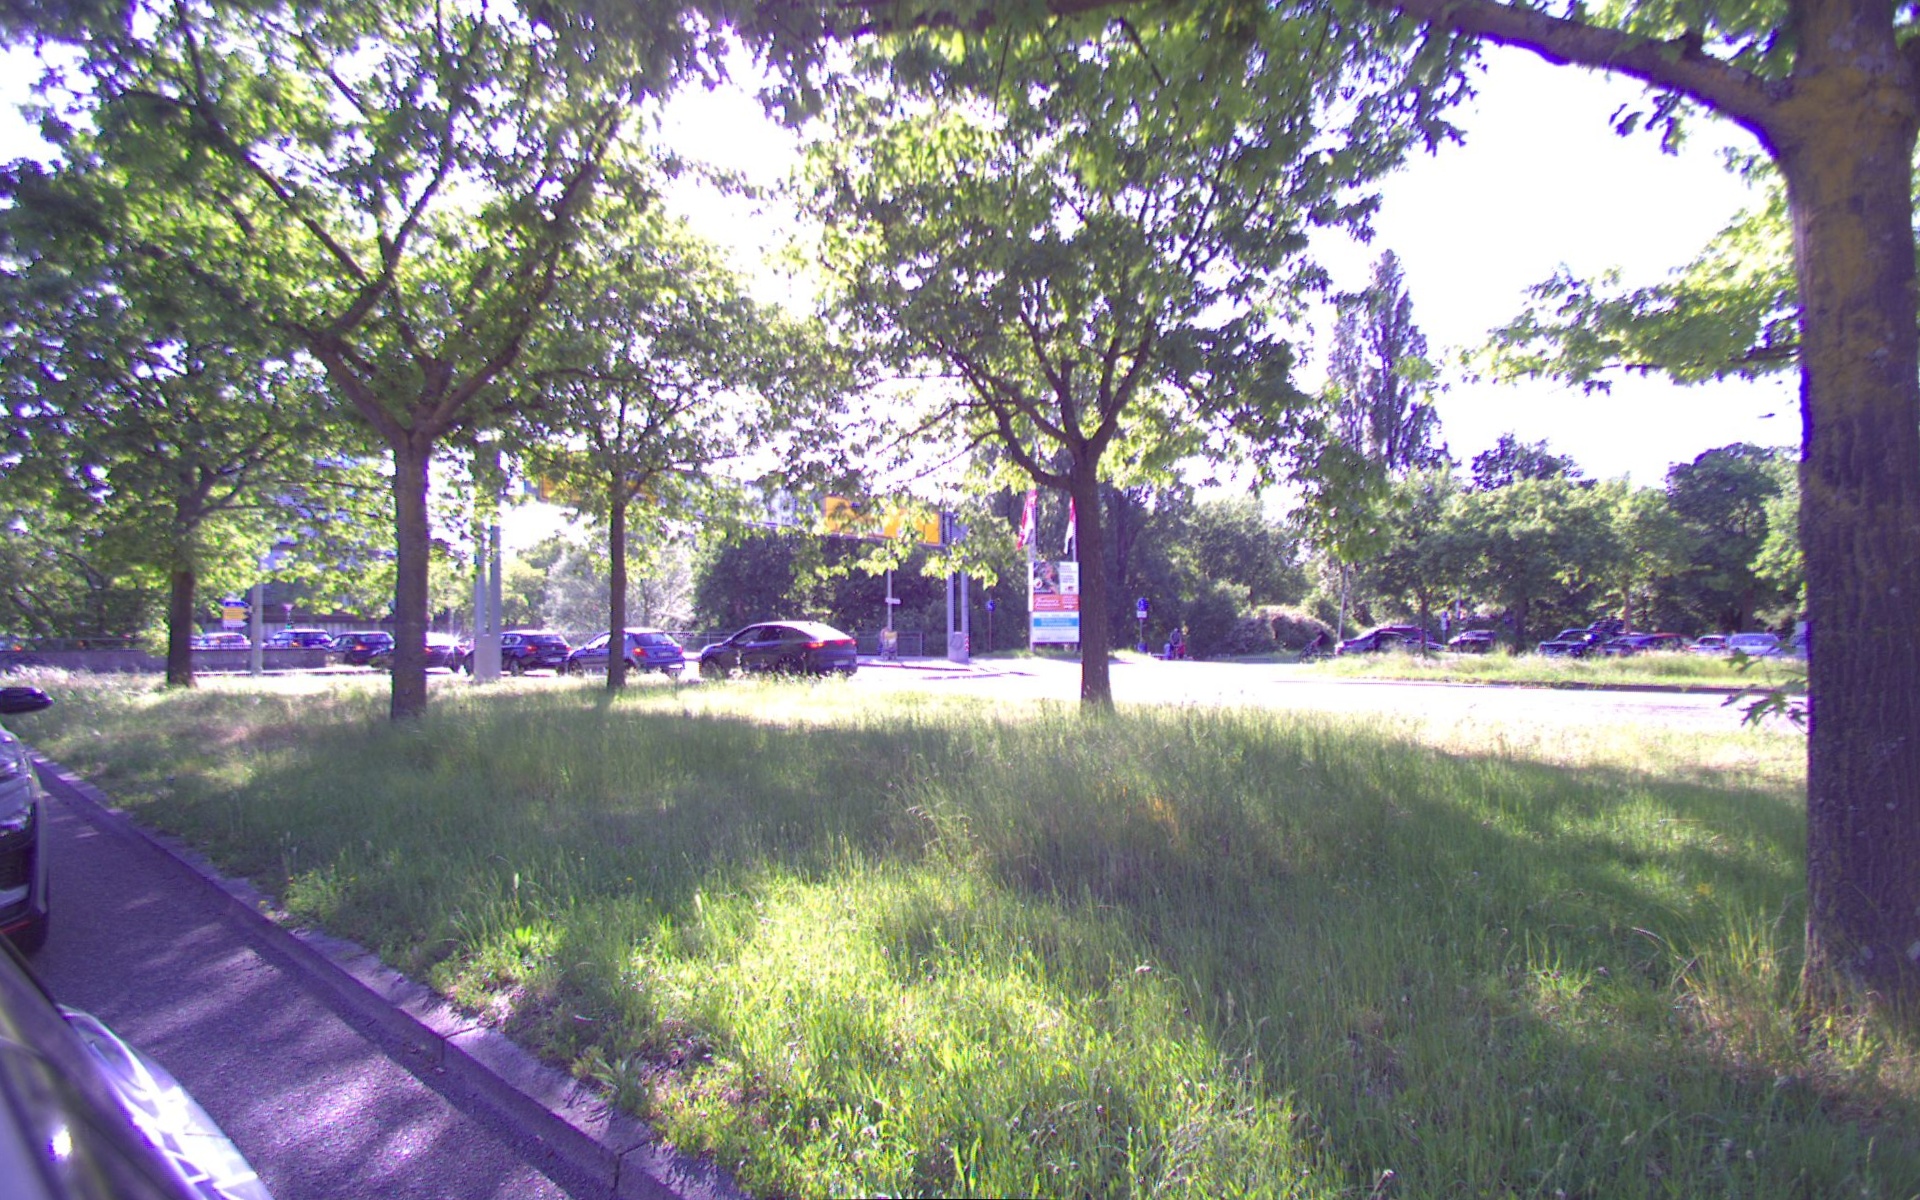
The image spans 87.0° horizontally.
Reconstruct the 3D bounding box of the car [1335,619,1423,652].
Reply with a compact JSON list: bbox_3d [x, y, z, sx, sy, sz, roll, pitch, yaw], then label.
[{"bbox_3d":[22.417,1.898,54.289,3.959,1.678,1.992,-1,-2,13],"label":"car"}]

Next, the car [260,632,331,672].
[{"bbox_3d":[-28.143,2.205,42.844,3.195,1.571,1.433,-4,-3,34],"label":"car"}]

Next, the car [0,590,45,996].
[{"bbox_3d":[-5.640,0.770,4.608,3.986,1.544,1.730,-2,-2,41],"label":"car"}]

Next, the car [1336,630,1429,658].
[{"bbox_3d":[21.126,2.203,50.758,3.957,1.385,1.826,-1,-2,11],"label":"car"}]

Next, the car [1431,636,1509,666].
[{"bbox_3d":[31.830,3.188,63.314,3.961,1.807,1.991,-1,-2,14],"label":"car"}]

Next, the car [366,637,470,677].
[{"bbox_3d":[-19.227,1.986,35.858,4.058,1.323,1.604,-2,-2,35],"label":"car"}]

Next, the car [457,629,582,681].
[{"bbox_3d":[-14.169,1.726,32.454,4.215,1.562,1.853,-2,-2,37],"label":"car"}]

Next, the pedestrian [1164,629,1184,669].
[{"bbox_3d":[11.317,2.576,53.593,0.847,2.060,0.863,-1,0,1],"label":"pedestrian"}]

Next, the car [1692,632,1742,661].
[{"bbox_3d":[32.968,1.985,44.115,1.616,1.187,3.040,-2,-2,35],"label":"car"}]

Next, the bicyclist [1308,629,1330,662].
[{"bbox_3d":[16.456,2.084,46.440,0.839,1.500,0.678,-1,-2,13],"label":"bicyclist"}]

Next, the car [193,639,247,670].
[{"bbox_3d":[-35.060,2.584,47.920,2.875,1.350,1.214,-5,-4,34],"label":"car"}]

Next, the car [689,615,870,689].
[{"bbox_3d":[-4.510,1.243,24.963,4.450,1.660,1.810,-2,-2,35],"label":"car"}]

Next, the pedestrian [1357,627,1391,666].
[{"bbox_3d":[17.597,1.955,43.028,0.971,1.642,0.918,0,-2,-25],"label":"pedestrian"}]

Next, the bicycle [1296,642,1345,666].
[{"bbox_3d":[16.519,2.488,46.386,2.016,1.060,0.684,-1,-2,13],"label":"bicycle"}]

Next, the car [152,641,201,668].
[{"bbox_3d":[-39.999,2.778,51.661,2.761,1.270,1.186,-4,-3,35],"label":"car"}]

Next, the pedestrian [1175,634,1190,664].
[{"bbox_3d":[13.443,2.958,61.213,0.742,1.802,0.905,-1,0,2],"label":"pedestrian"}]

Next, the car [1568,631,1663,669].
[{"bbox_3d":[23.531,1.786,36.436,2.783,1.315,1.327,-2,-2,32],"label":"car"}]

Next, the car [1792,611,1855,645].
[{"bbox_3d":[43.885,1.417,51.399,3.694,1.681,1.895,1,-2,-41],"label":"car"}]

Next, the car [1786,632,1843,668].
[{"bbox_3d":[35.610,2.066,42.220,1.617,1.430,3.038,-2,-2,38],"label":"car"}]

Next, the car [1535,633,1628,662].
[{"bbox_3d":[23.351,1.775,38.119,2.774,1.072,1.324,-1,-2,23],"label":"car"}]

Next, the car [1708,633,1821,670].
[{"bbox_3d":[26.884,1.698,33.912,2.783,1.165,1.327,-1,-2,32],"label":"car"}]

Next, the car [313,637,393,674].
[{"bbox_3d":[-23.419,2.123,39.029,3.195,1.349,1.464,-3,-2,35],"label":"car"}]

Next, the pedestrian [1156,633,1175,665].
[{"bbox_3d":[12.510,2.948,61.545,0.845,1.881,0.904,-1,0,-7],"label":"pedestrian"}]

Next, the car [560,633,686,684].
[{"bbox_3d":[-9.617,1.646,28.805,3.601,1.374,1.543,-2,-2,35],"label":"car"}]
